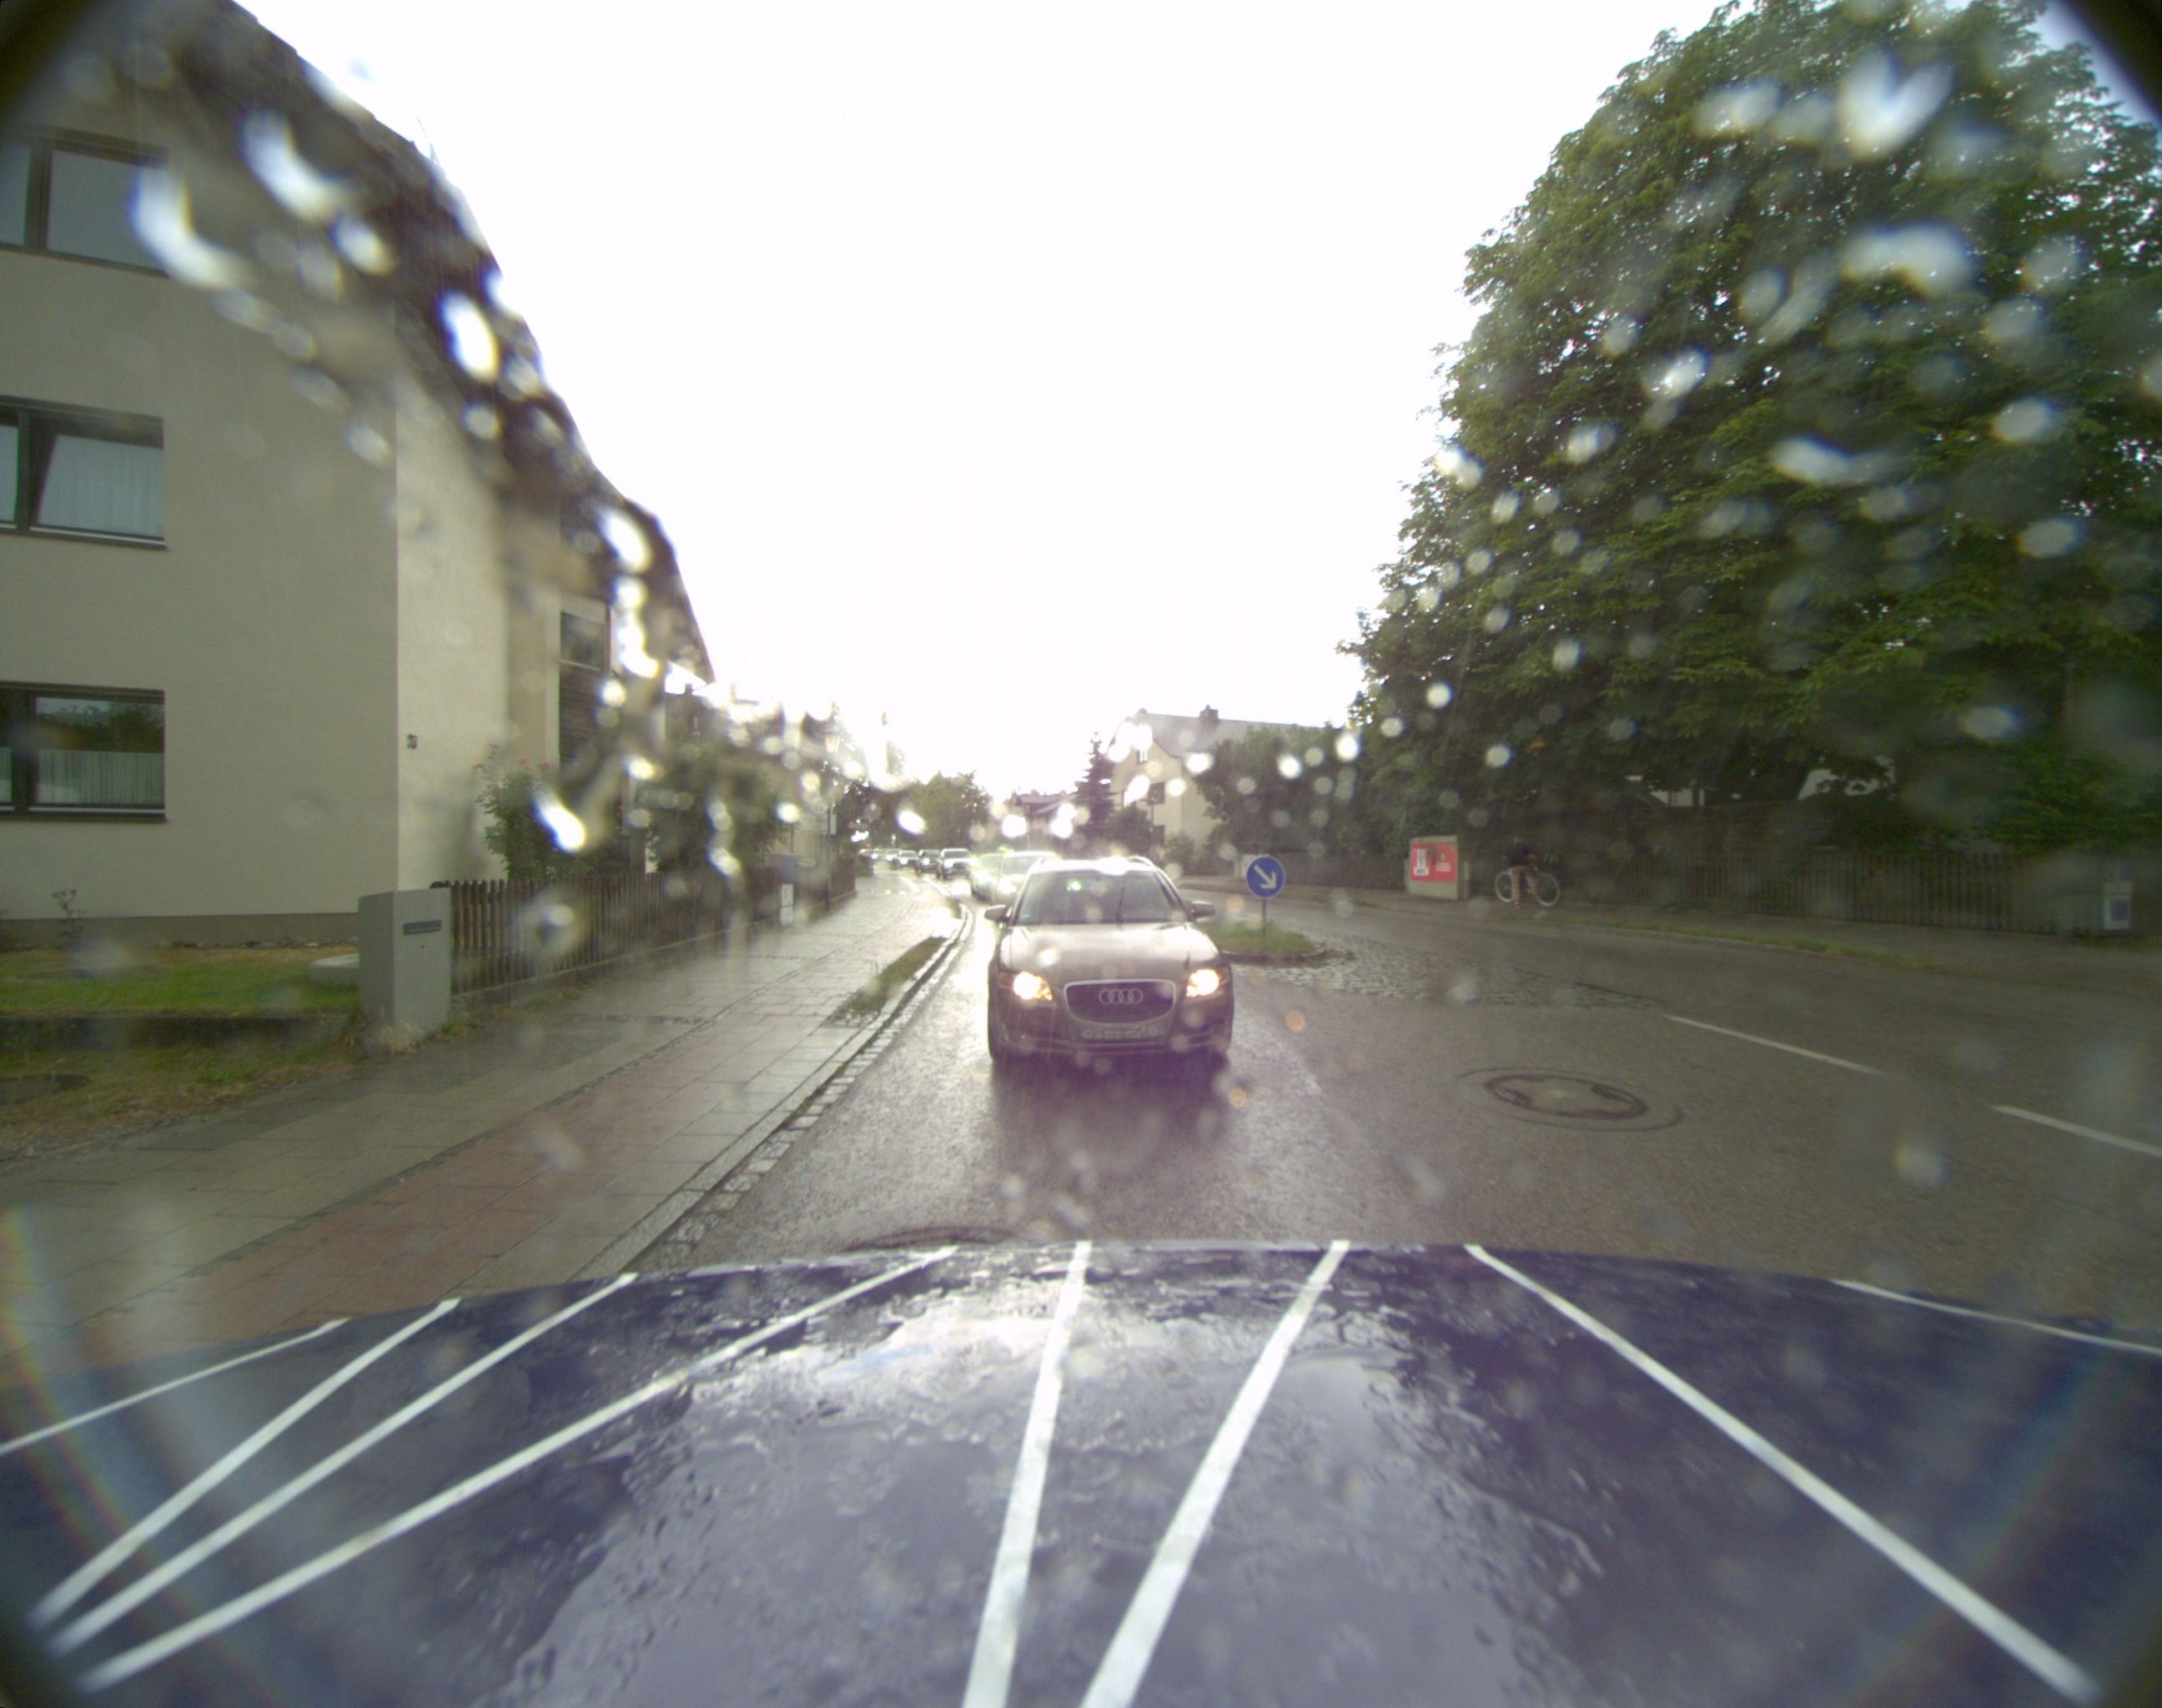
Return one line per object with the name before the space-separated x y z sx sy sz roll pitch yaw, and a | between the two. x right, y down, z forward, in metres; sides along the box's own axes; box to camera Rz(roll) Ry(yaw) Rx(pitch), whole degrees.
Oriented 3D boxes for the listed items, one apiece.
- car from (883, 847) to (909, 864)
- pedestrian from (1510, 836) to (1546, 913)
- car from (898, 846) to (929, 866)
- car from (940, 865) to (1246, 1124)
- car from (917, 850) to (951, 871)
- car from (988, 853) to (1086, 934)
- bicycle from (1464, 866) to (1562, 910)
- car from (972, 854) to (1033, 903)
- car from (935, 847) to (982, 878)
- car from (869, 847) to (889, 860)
car | -18.231 0.157 74.625 1.797 1.539 4.273 -3 1 -22
pedestrian | 9.593 0.422 16.320 0.652 1.619 0.480 0 1 31
car | -14.092 0.189 63.693 1.797 1.539 4.273 -3 1 -22
car | 0.037 0.873 6.710 1.794 1.387 4.280 -2 1 -1
car | -10.557 0.429 54.364 1.796 1.365 4.274 -2 1 -19
car | -1.188 0.763 17.526 1.795 1.470 5.381 -2 1 -8
bicycle | 9.795 0.755 17.301 0.665 0.897 1.870 -2 1 -30
car | -2.656 0.728 25.184 1.795 1.387 4.278 -2 1 -8
car | -6.772 0.465 41.634 1.796 1.539 4.274 -3 1 -19
car | -24.676 -0.067 92.705 1.797 1.539 4.273 -3 1 -23
